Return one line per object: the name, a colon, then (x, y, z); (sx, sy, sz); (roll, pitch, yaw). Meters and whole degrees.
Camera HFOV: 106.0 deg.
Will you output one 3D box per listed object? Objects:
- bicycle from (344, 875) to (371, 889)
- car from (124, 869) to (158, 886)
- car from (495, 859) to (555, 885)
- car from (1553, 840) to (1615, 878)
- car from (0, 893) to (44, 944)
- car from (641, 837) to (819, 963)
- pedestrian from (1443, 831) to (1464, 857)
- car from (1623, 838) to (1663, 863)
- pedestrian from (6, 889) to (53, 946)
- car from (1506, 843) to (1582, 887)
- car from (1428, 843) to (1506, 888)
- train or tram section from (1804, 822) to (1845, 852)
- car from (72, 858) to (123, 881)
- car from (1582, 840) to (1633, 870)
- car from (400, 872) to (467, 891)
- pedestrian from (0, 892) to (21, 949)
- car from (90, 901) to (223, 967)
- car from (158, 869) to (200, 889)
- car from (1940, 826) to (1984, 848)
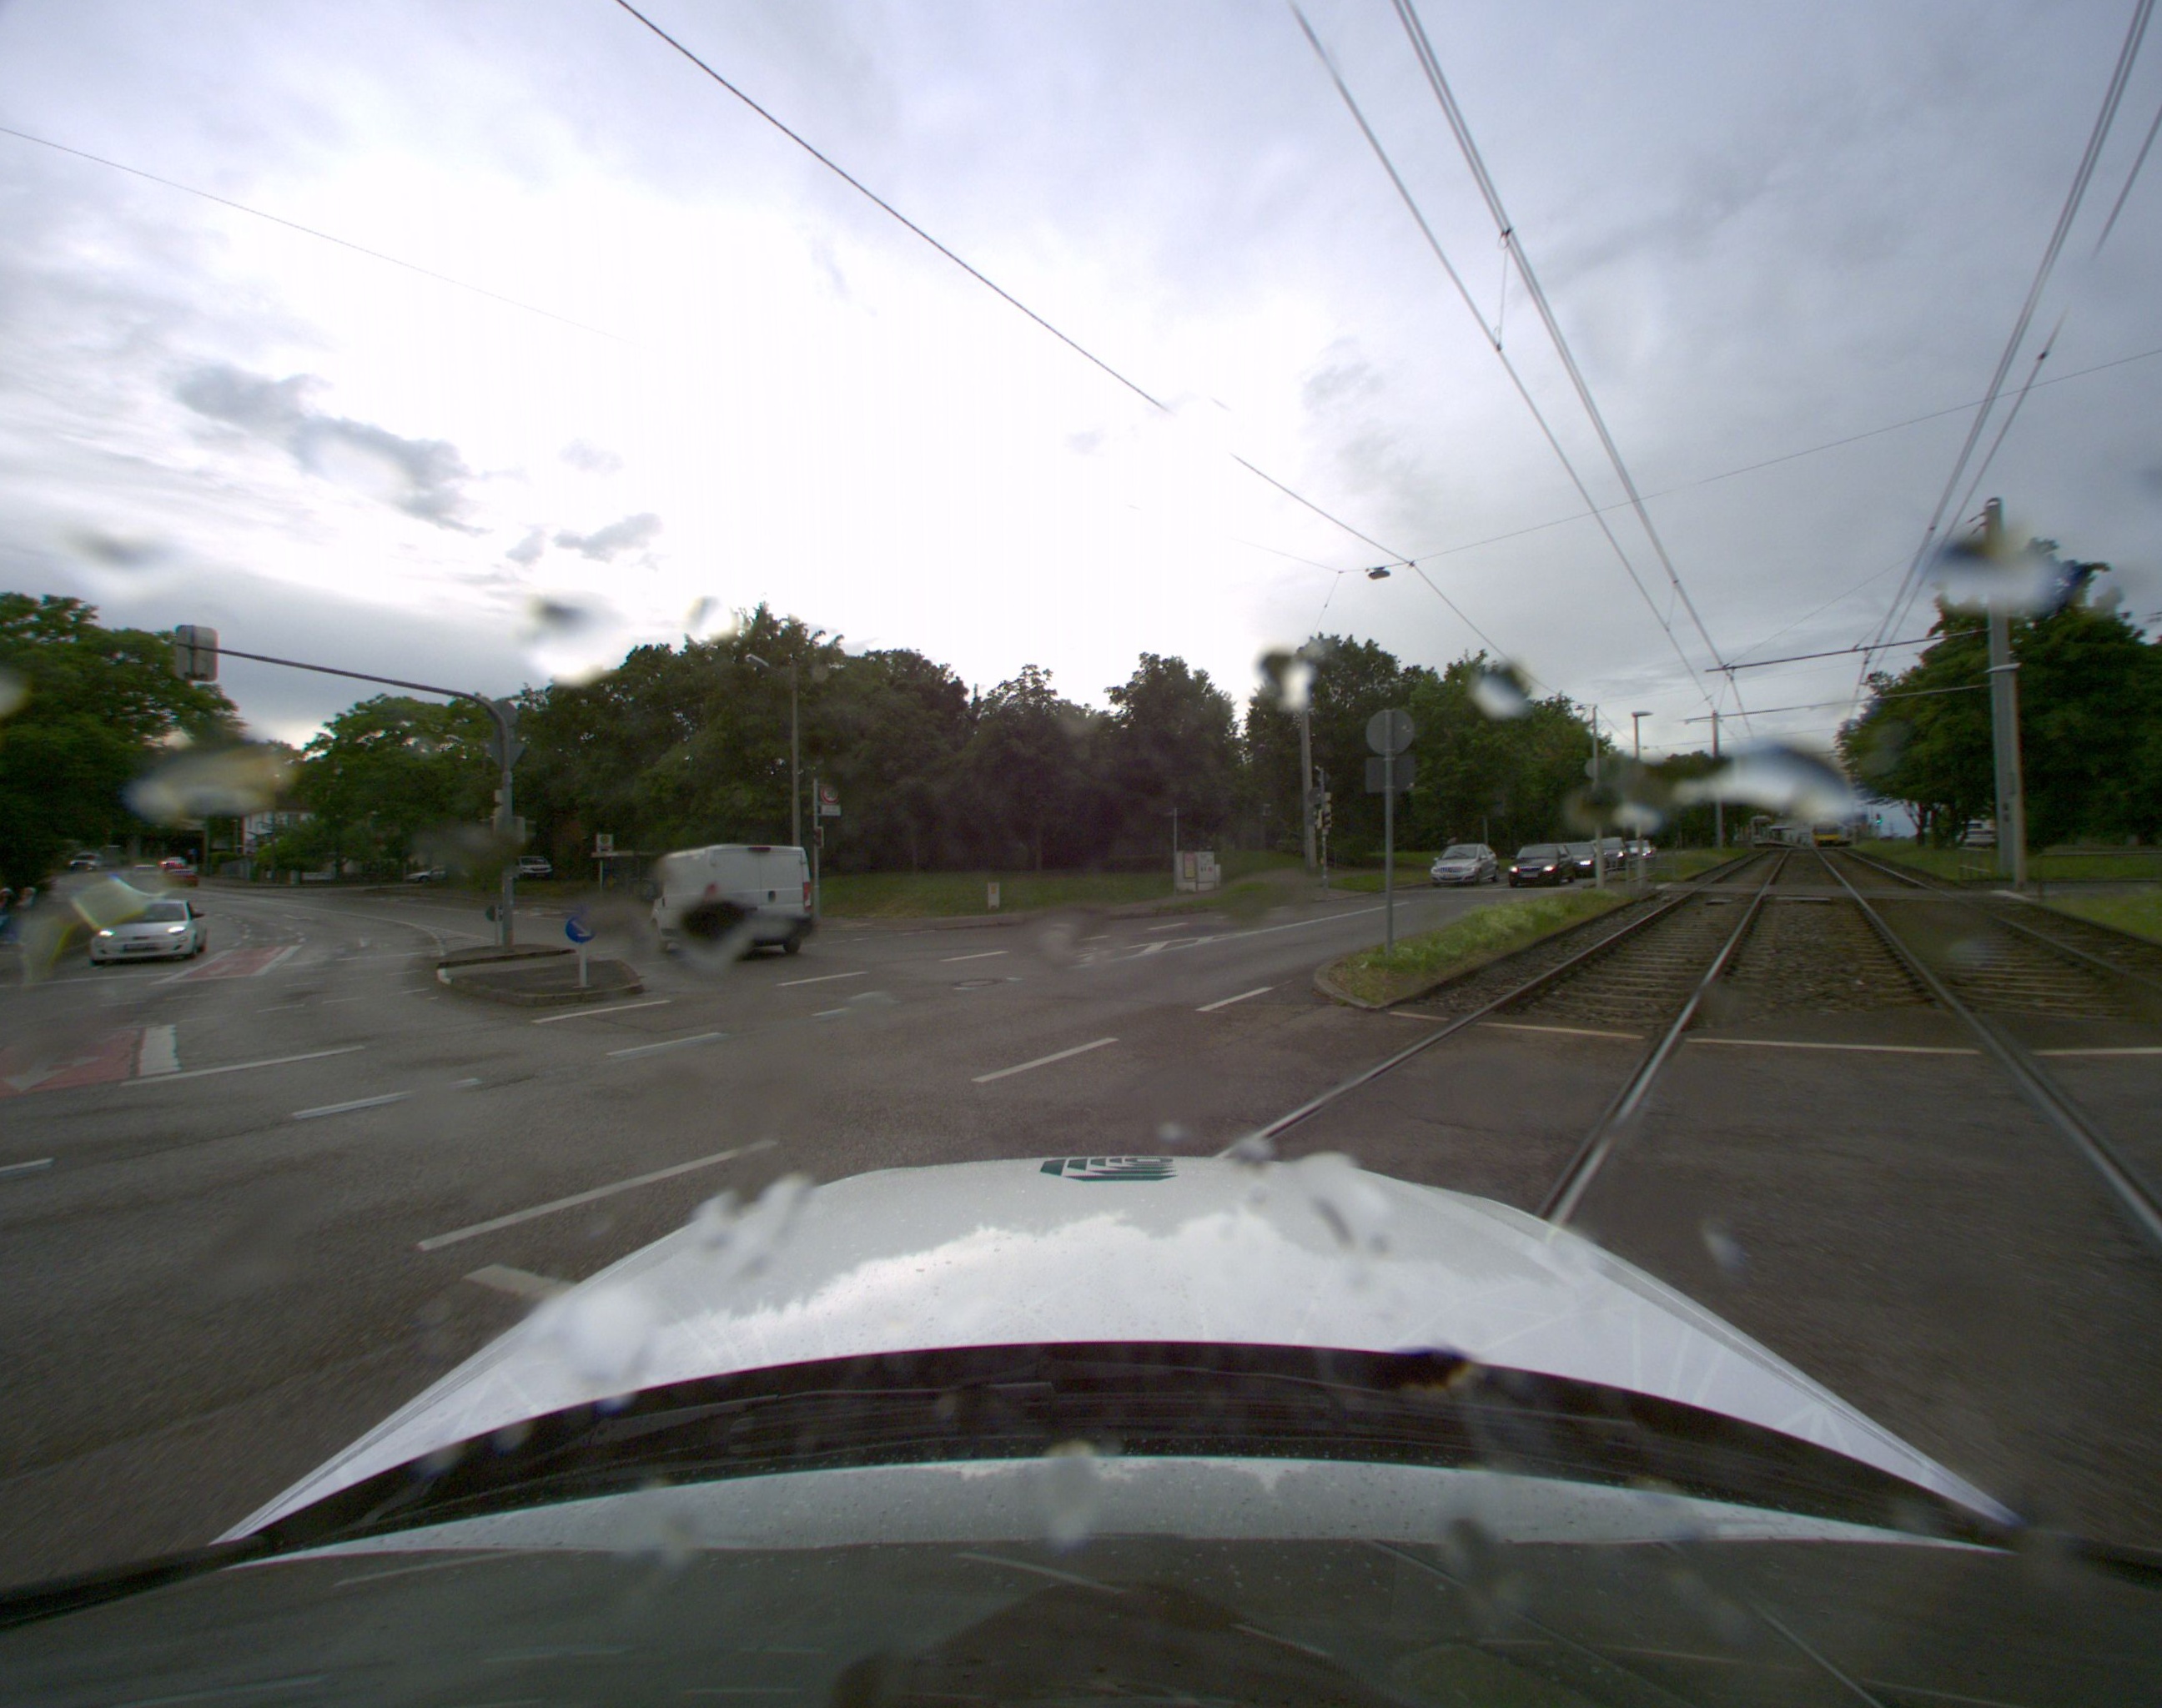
bicycle: (-59.677, 2.298, 67.215); (0.451, 1.115, 1.586); (0, 1, 39)
car: (-90.646, 2.242, 78.554); (3.706, 1.511, 1.782); (0, -1, 35)
car: (-39.552, 1.268, 57.919); (5.080, 1.805, 2.012); (-1, -2, 38)
car: (21.001, 0.191, 33.941); (1.586, 1.402, 3.815); (-3, -1, 41)
car: (-32.389, 1.847, 22.492); (1.736, 1.449, 4.245); (0, -2, 10)
car: (-7.783, 0.898, 17.732); (2.164, 2.283, 5.003); (-3, 0, -40)
pedestrian: (23.975, -0.622, 52.409); (1.003, 1.601, 1.046); (-2, -1, 36)
car: (35.148, -0.209, 50.906); (1.585, 1.402, 3.815); (-4, -1, 41)
pedestrian: (-30.303, 1.810, 23.488); (0.661, 1.602, 0.670); (2, -2, -41)
car: (16.611, 0.369, 29.141); (1.586, 1.402, 3.815); (-3, -1, 41)
car: (15.308, 0.435, 32.232); (1.702, 1.554, 3.887); (-6, -2, 41)
train or tram section: (104.657, -2.496, 114.657); (4.022, 3.894, 15.132); (0, 1, 43)
car: (-130.573, 2.005, 108.234); (2.553, 3.018, 7.132); (1, -1, -35)
car: (26.286, 0.012, 40.596); (1.586, 1.401, 3.815); (0, 1, 41)
car: (-54.223, 2.291, 68.264); (1.682, 1.422, 4.026); (-3, 0, 33)
pedestrian: (-31.126, 1.913, 23.417); (0.610, 1.602, 0.670); (2, -2, -41)
car: (-24.320, 2.032, 21.570); (1.701, 1.482, 3.953); (-2, -1, -40)
car: (-74.751, 2.027, 67.488); (4.148, 1.533, 1.854); (0, -1, 36)
car: (63.886, -1.251, 59.110); (1.687, 1.521, 3.816); (0, 1, 40)
